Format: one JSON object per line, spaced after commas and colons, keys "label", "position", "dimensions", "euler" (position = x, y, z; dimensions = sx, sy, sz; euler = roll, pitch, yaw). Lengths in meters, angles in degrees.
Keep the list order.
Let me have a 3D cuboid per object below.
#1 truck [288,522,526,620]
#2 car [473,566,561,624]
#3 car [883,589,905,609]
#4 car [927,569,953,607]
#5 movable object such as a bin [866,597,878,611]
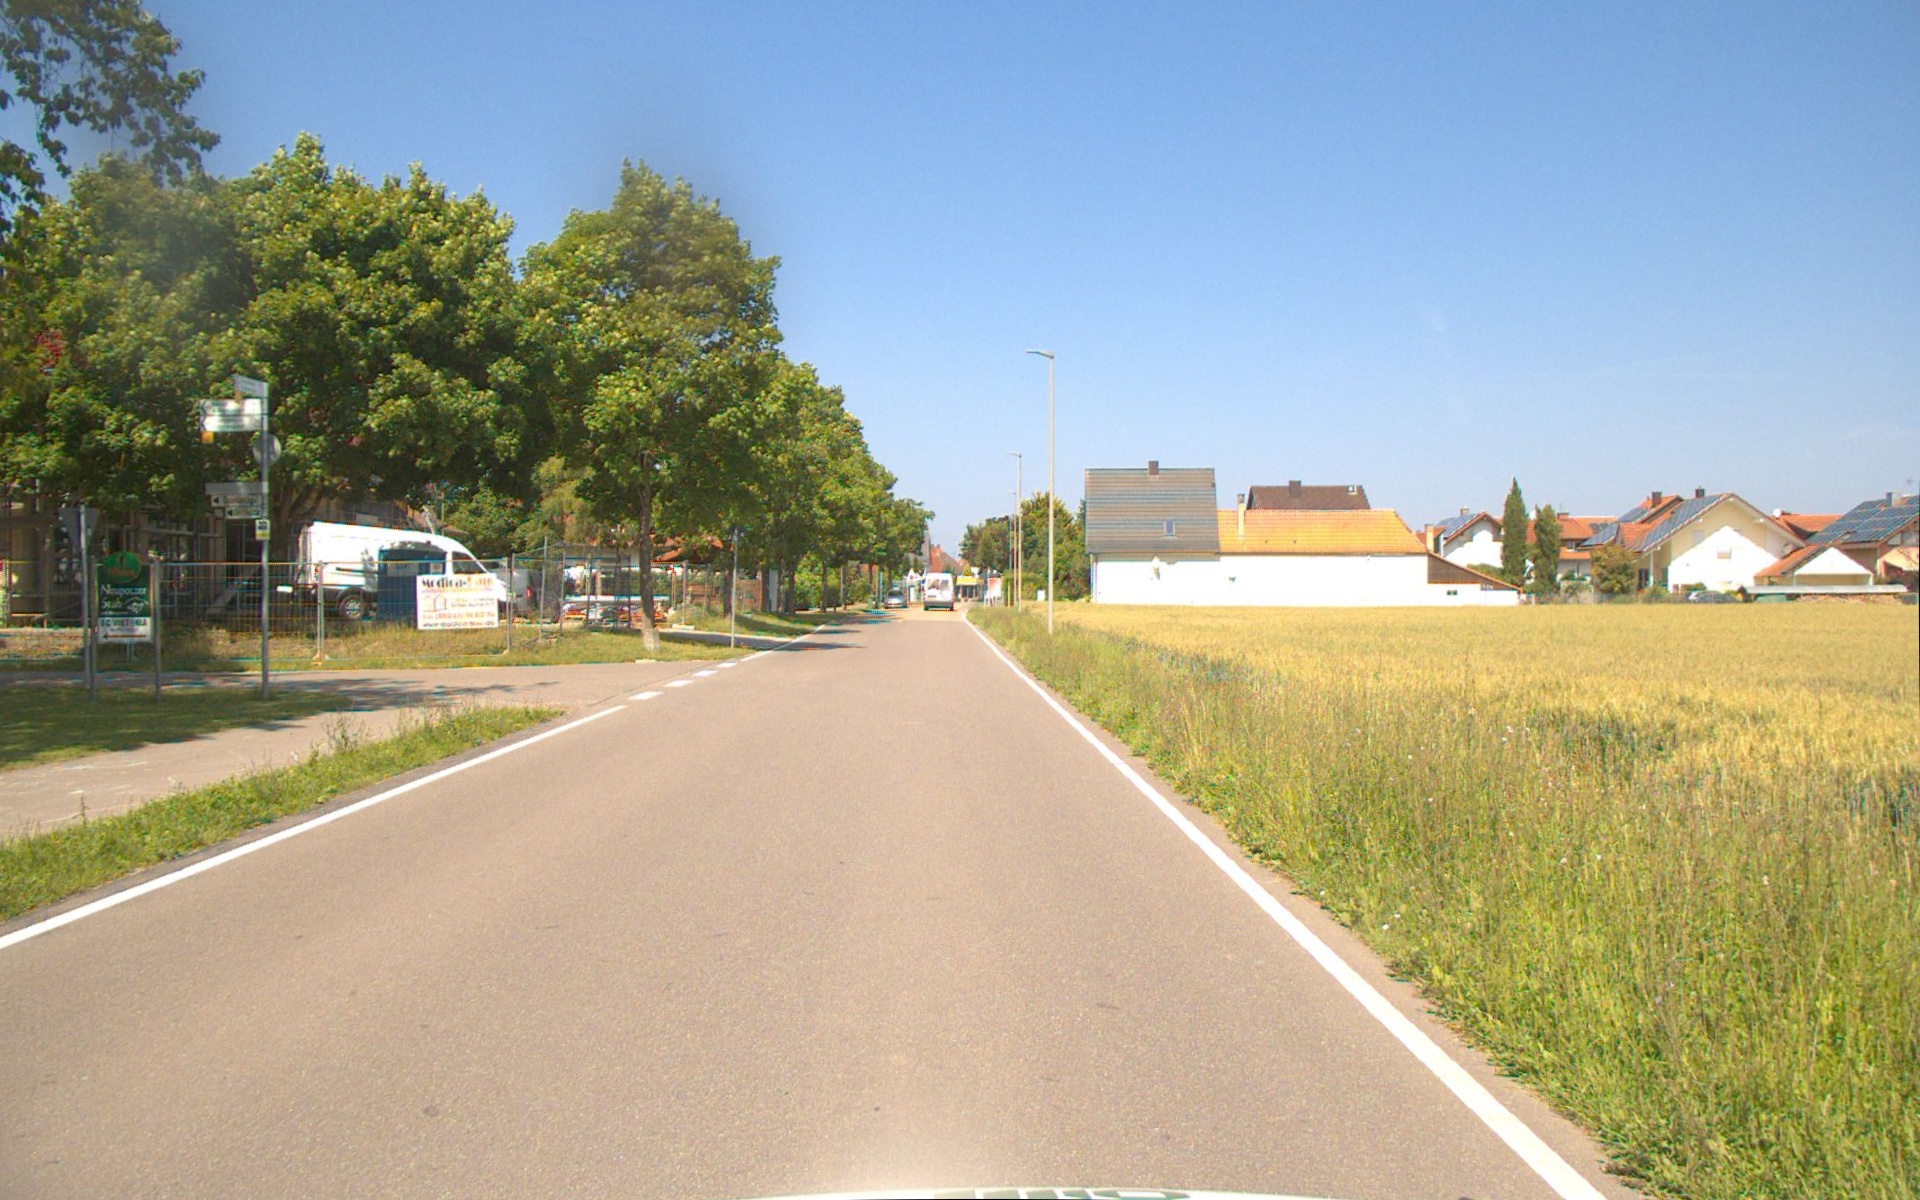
{"label": "truck", "position": [-15.024, -0.741, 45.172], "dimensions": [5.871, 2.527, 1.973], "euler": [0, 0, -38]}
{"label": "car", "position": [-15.121, -0.173, 56.641], "dimensions": [1.930, 1.870, 4.327], "euler": [0, 0, -2]}
{"label": "car", "position": [-5.171, -0.057, 130.305], "dimensions": [1.614, 1.448, 4.079], "euler": [-3, 0, -1]}
{"label": "car", "position": [-1.342, -0.794, 111.575], "dimensions": [1.702, 2.474, 4.374], "euler": [-1, 0, 0]}
{"label": "movable object such as a bin", "position": [-6.651, 0.295, 124.805], "dimensions": [0.699, 1.097, 0.639], "euler": [-1, 0, 26]}
